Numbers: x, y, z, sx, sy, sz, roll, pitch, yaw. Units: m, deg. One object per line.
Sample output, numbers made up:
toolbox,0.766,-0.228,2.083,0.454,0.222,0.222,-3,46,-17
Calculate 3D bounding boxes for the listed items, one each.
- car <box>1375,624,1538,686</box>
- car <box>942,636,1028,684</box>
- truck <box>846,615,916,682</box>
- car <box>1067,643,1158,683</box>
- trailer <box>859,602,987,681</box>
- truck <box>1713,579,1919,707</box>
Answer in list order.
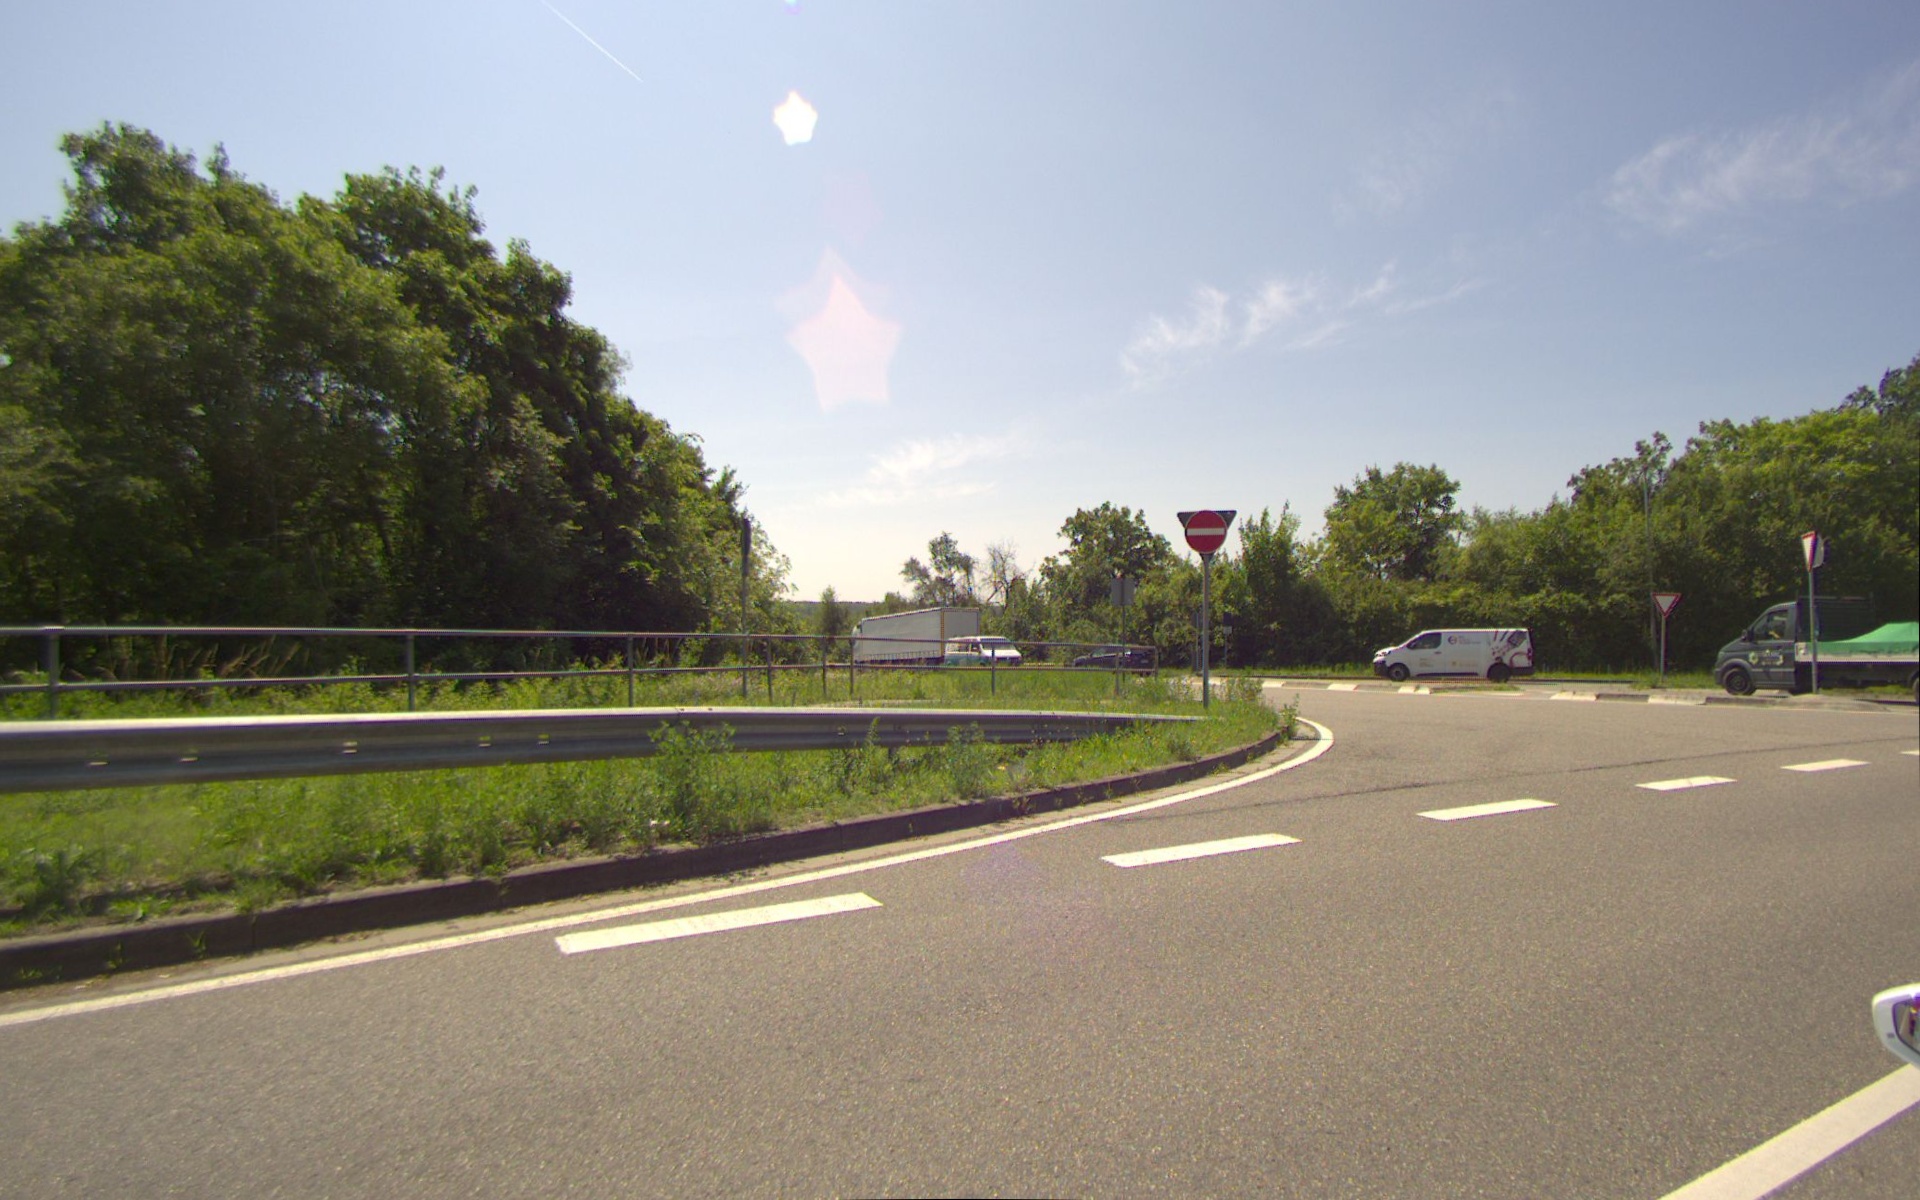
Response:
car,17.701,1.919,36.122,5.094,1.949,2.016,1,0,22
car,1.061,2.745,45.943,1.972,2.054,5.160,1,-4,-24
truck,-5.629,3.498,70.739,2.959,4.329,5.893,1,-6,-26
car,7.039,2.869,46.511,3.876,1.617,1.759,1,0,45
trailer,-2.738,2.903,64.746,2.959,4.329,13.710,1,-6,-26
truck,20.381,0.941,22.186,2.105,2.599,6.634,1,-1,-5
